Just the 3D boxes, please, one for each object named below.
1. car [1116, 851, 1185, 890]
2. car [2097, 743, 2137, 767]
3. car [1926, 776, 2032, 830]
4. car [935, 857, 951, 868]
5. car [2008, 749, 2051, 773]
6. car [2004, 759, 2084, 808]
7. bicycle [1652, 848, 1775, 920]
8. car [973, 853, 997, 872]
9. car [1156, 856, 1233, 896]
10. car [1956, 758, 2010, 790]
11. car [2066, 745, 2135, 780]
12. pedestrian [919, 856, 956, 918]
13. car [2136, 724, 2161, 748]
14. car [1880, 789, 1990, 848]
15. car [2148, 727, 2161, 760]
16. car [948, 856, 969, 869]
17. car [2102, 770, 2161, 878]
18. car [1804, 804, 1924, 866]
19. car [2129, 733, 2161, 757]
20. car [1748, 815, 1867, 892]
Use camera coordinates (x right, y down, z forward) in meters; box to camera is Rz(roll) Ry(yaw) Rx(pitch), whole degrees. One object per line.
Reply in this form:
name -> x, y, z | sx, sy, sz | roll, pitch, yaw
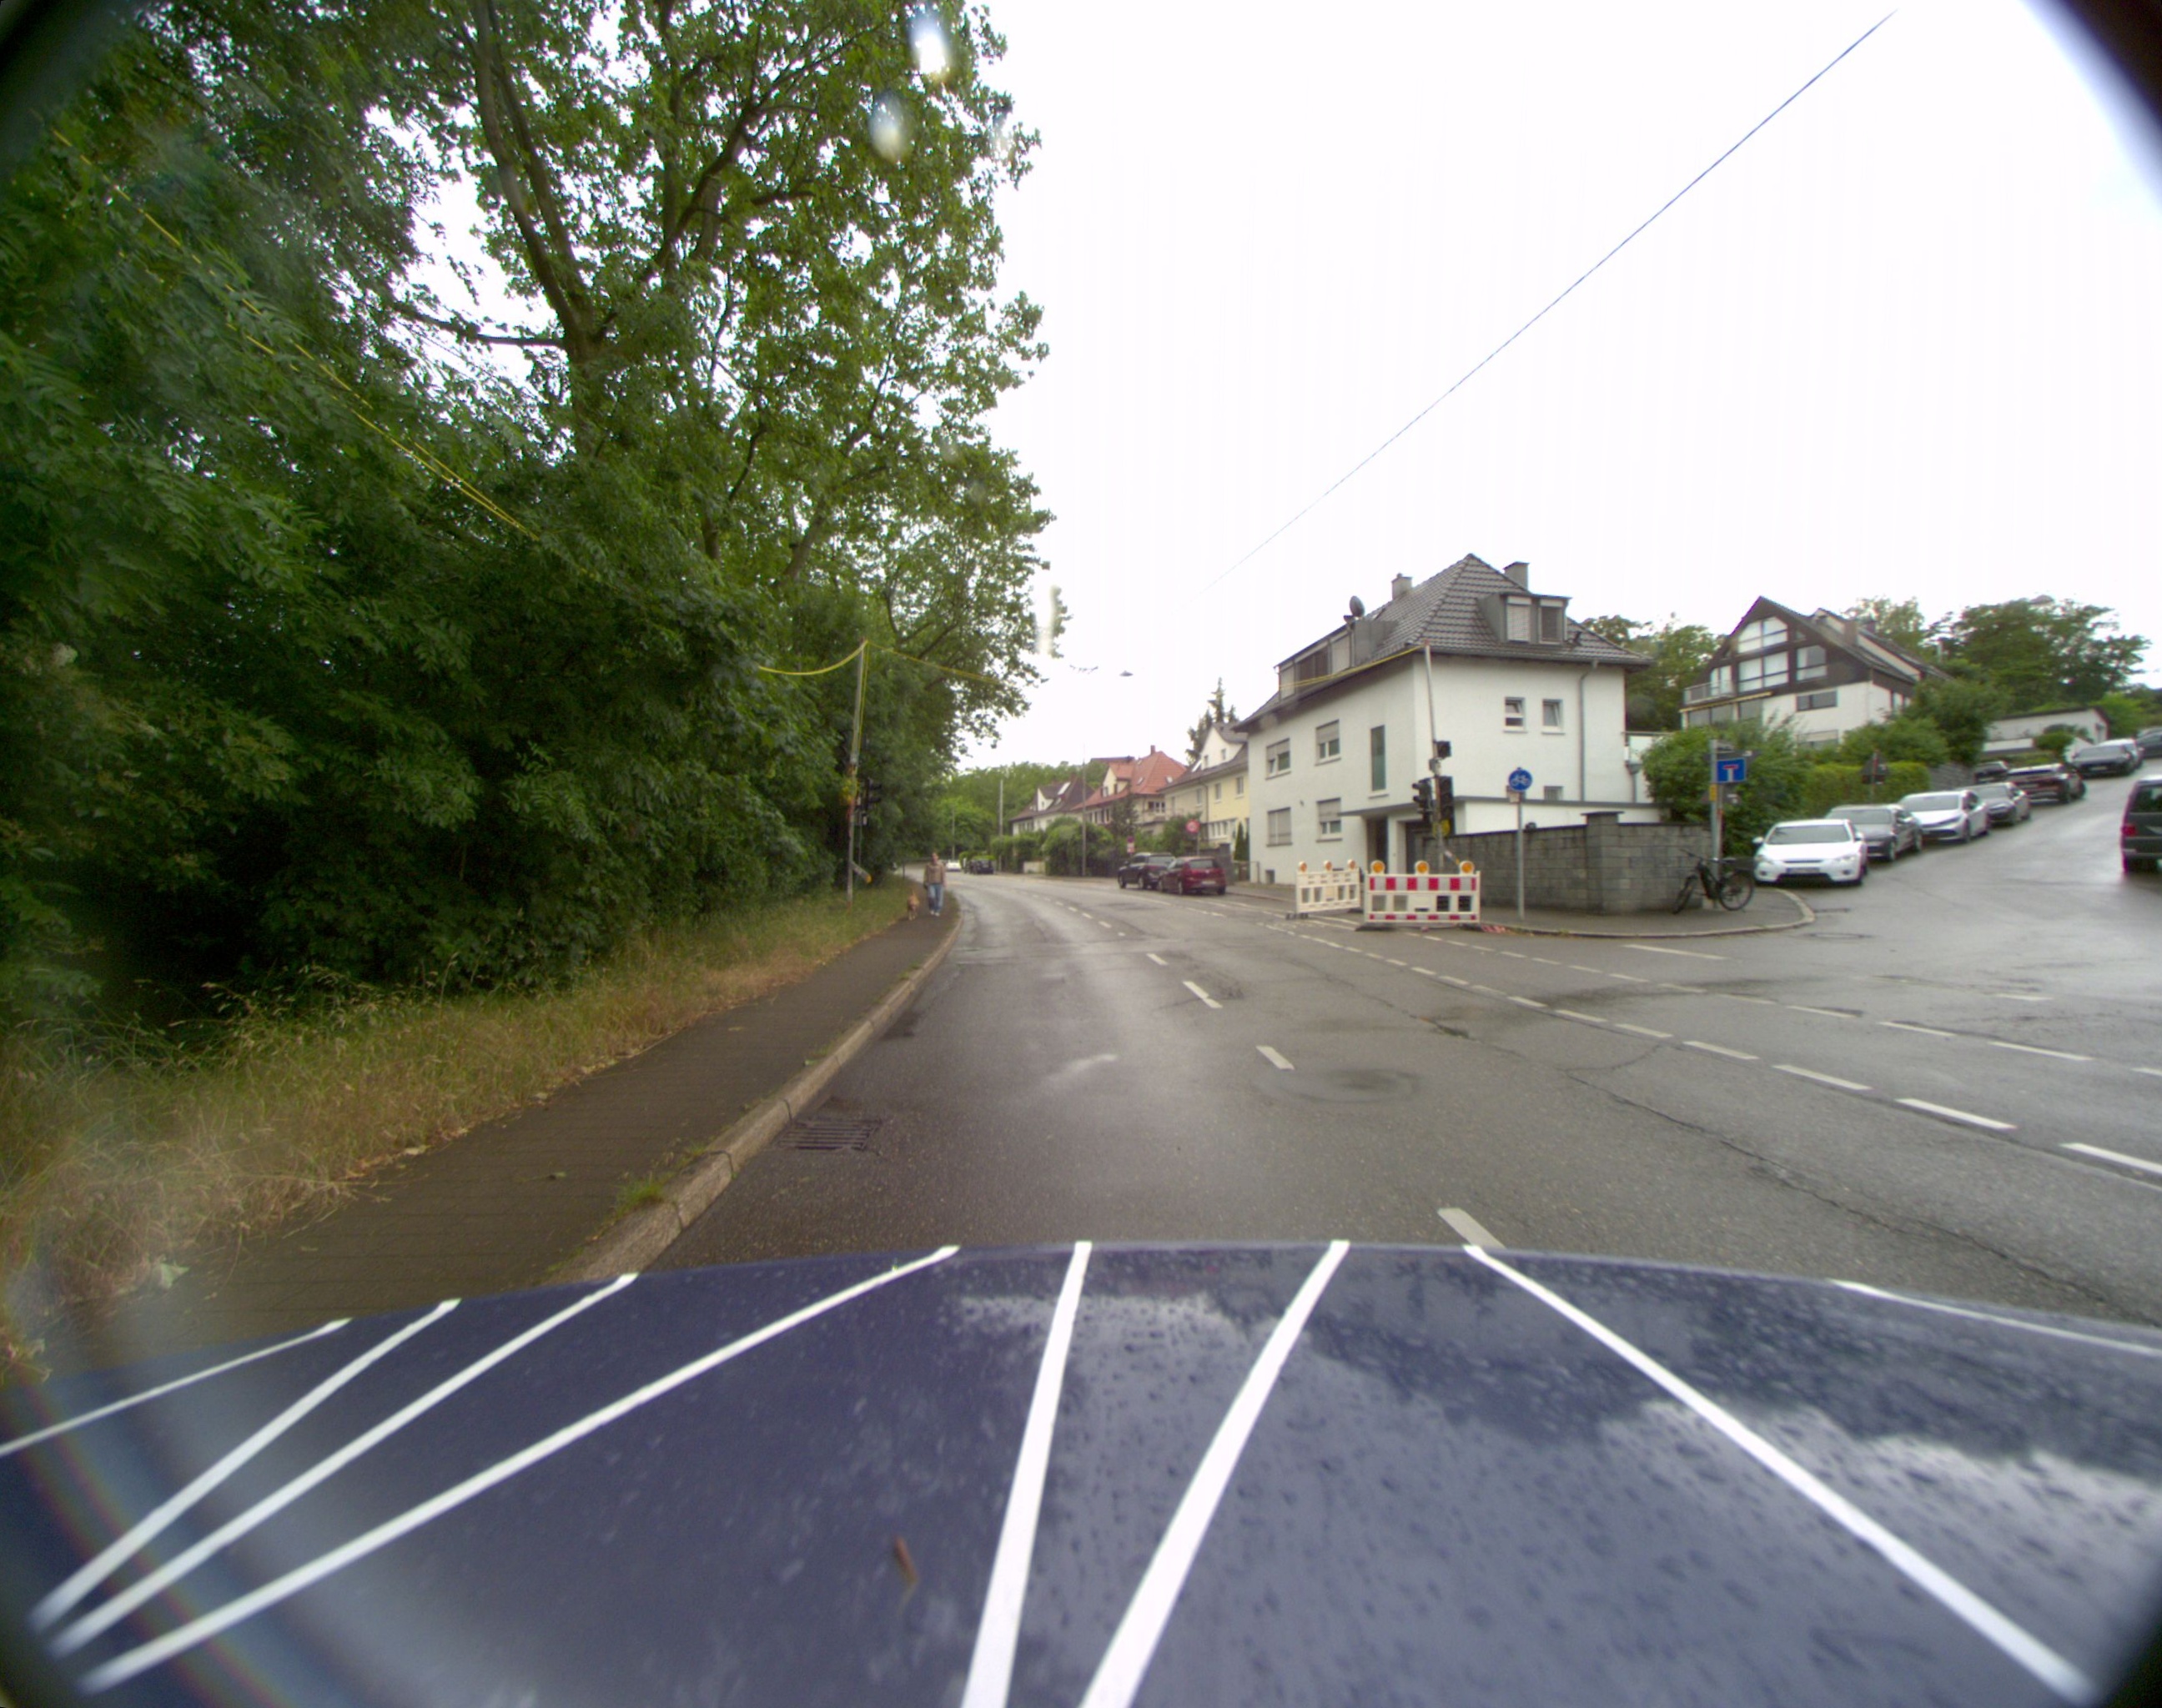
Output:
car -> 3.128, 0.732, 35.030 | 1.798, 1.630, 4.150 | -1, 0, -15
car -> 59.835, -5.743, 43.895 | 2.988, 1.191, 1.305 | -6, 3, -35
car -> 32.325, -1.834, 27.331 | 4.111, 1.430, 1.921 | -9, 4, -33
car -> -18.744, 1.141, 103.009 | 1.691, 1.419, 3.770 | -2, 0, -17
car -> 57.237, -5.639, 45.863 | 3.656, 1.205, 1.577 | -7, 3, -38
car -> 40.717, -2.985, 32.110 | 4.004, 1.617, 1.638 | -8, 4, -32
bicycle -> 11.586, 0.534, 13.932 | 2.006, 1.232, 0.510 | -2, 3, -8
car -> -9.610, 0.848, 75.952 | 1.882, 1.814, 4.121 | -2, 0, -14
car -> 4.381, 0.817, 29.902 | 1.787, 1.423, 3.844 | -2, 0, -10
car -> 52.866, -4.650, 44.514 | 4.020, 1.545, 1.812 | -3, 1, -37
car -> 54.813, -4.880, 40.838 | 4.034, 1.511, 1.786 | -2, 0, -31
pedestrian -> -3.619, 0.817, 19.204 | 0.735, 1.490, 0.785 | -2, 1, -1
car -> 81.116, -8.868, 55.957 | 1.754, 1.508, 3.961 | -3, 1, -35
car -> 27.268, -1.154, 24.228 | 3.951, 1.462, 1.755 | -7, 3, -33
car -> 72.463, -7.448, 48.980 | 2.003, 2.000, 3.993 | -2, -4, -32
car -> -15.236, 1.080, 94.173 | 2.071, 1.477, 4.556 | -2, 0, -16
car -> 23.881, -0.754, 16.258 | 4.497, 2.003, 1.996 | -7, 3, -31
car -> 22.462, -0.560, 21.756 | 3.910, 1.380, 1.719 | -7, 3, -34
car -> 68.323, -6.938, 47.695 | 1.286, 1.310, 2.945 | -3, 1, -36
car -> 17.775, -0.051, 18.534 | 4.126, 1.455, 1.849 | -7, 4, -43
